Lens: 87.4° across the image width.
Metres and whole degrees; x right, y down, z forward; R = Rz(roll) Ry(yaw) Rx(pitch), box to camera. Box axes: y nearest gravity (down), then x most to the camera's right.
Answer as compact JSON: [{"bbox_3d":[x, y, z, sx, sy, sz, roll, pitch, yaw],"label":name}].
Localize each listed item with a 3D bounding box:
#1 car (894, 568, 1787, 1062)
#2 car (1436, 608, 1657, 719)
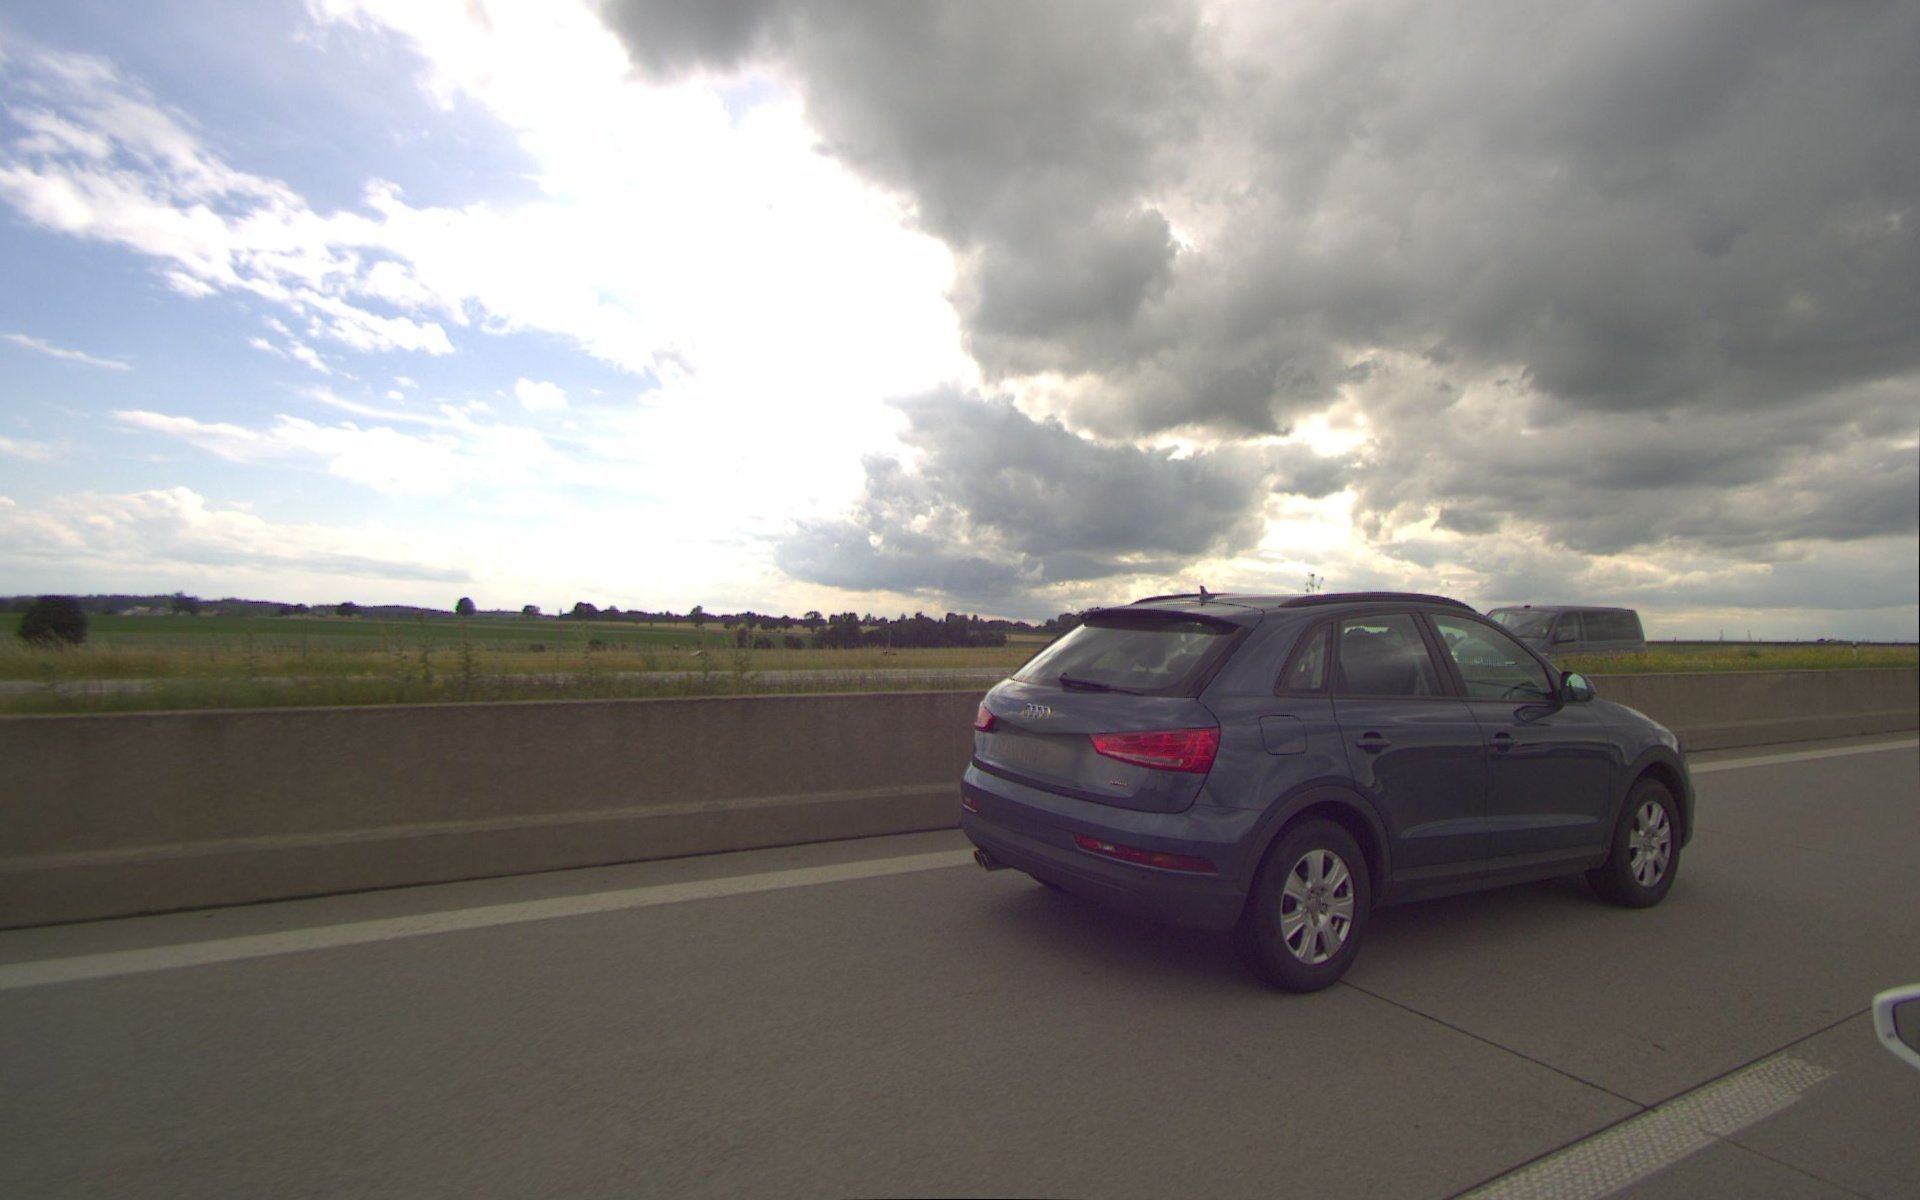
[{"bbox_3d":[2.316,0.753,5.412,5.100,1.617,1.783,2,0,-32],"label":"car"},{"bbox_3d":[12.248,1.231,20.917,4.575,2.040,1.984,1,0,-30],"label":"car"}]
